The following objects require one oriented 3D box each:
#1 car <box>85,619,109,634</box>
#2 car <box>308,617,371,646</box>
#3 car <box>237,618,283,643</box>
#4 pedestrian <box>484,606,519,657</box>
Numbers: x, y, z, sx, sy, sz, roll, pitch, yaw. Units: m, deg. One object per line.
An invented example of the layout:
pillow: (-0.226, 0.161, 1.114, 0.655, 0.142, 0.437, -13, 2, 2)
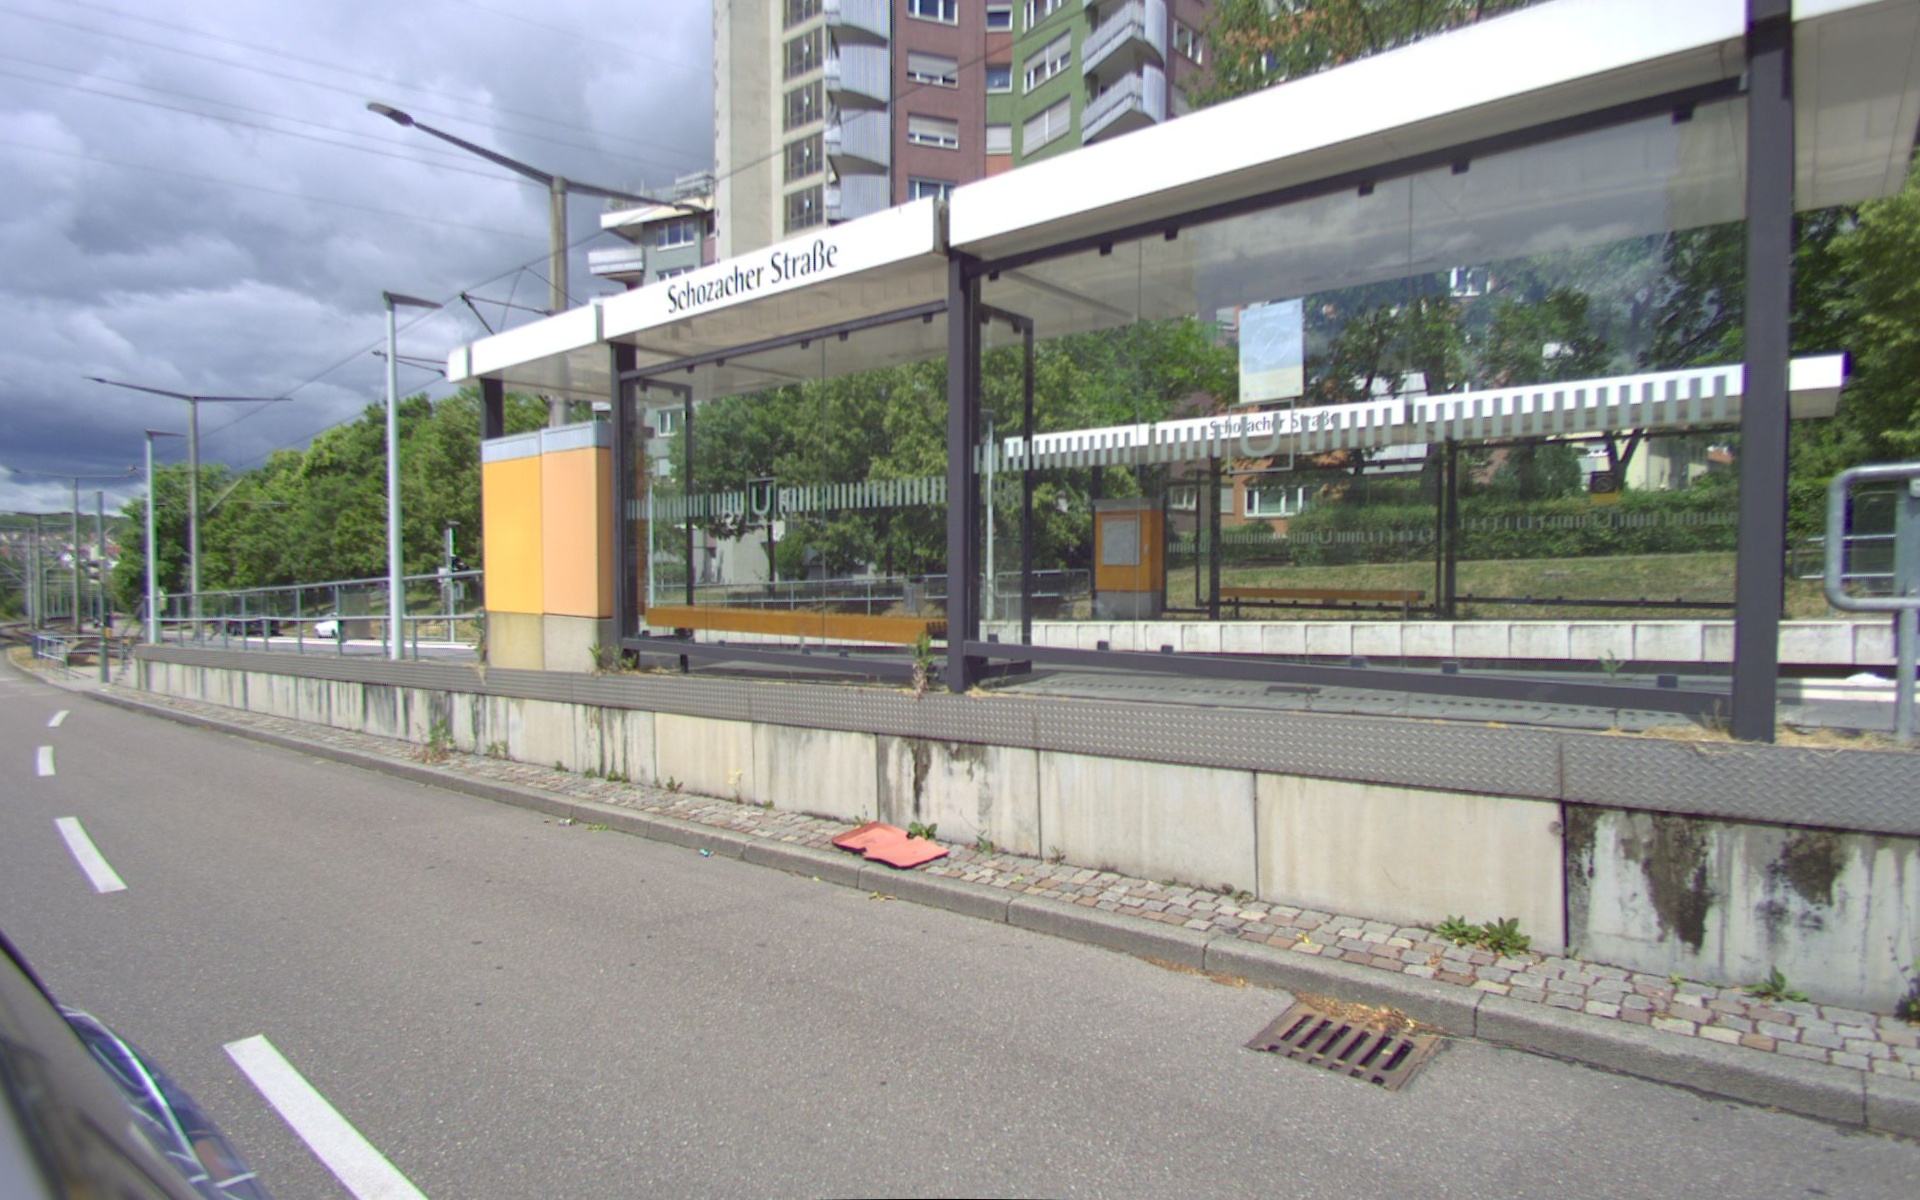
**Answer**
car: (-96.038, 2.950, 112.584, 3.738, 1.524, 1.636, -2, -1, 43)
car: (-32.515, 1.654, 52.993, 3.996, 1.429, 1.638, -1, -1, 40)
car: (-44.692, 1.948, 64.607, 3.738, 1.524, 1.636, -2, -1, 43)
pedestrian: (-14.634, 1.005, 32.304, 0.823, 1.575, 0.682, -2, 0, 41)
